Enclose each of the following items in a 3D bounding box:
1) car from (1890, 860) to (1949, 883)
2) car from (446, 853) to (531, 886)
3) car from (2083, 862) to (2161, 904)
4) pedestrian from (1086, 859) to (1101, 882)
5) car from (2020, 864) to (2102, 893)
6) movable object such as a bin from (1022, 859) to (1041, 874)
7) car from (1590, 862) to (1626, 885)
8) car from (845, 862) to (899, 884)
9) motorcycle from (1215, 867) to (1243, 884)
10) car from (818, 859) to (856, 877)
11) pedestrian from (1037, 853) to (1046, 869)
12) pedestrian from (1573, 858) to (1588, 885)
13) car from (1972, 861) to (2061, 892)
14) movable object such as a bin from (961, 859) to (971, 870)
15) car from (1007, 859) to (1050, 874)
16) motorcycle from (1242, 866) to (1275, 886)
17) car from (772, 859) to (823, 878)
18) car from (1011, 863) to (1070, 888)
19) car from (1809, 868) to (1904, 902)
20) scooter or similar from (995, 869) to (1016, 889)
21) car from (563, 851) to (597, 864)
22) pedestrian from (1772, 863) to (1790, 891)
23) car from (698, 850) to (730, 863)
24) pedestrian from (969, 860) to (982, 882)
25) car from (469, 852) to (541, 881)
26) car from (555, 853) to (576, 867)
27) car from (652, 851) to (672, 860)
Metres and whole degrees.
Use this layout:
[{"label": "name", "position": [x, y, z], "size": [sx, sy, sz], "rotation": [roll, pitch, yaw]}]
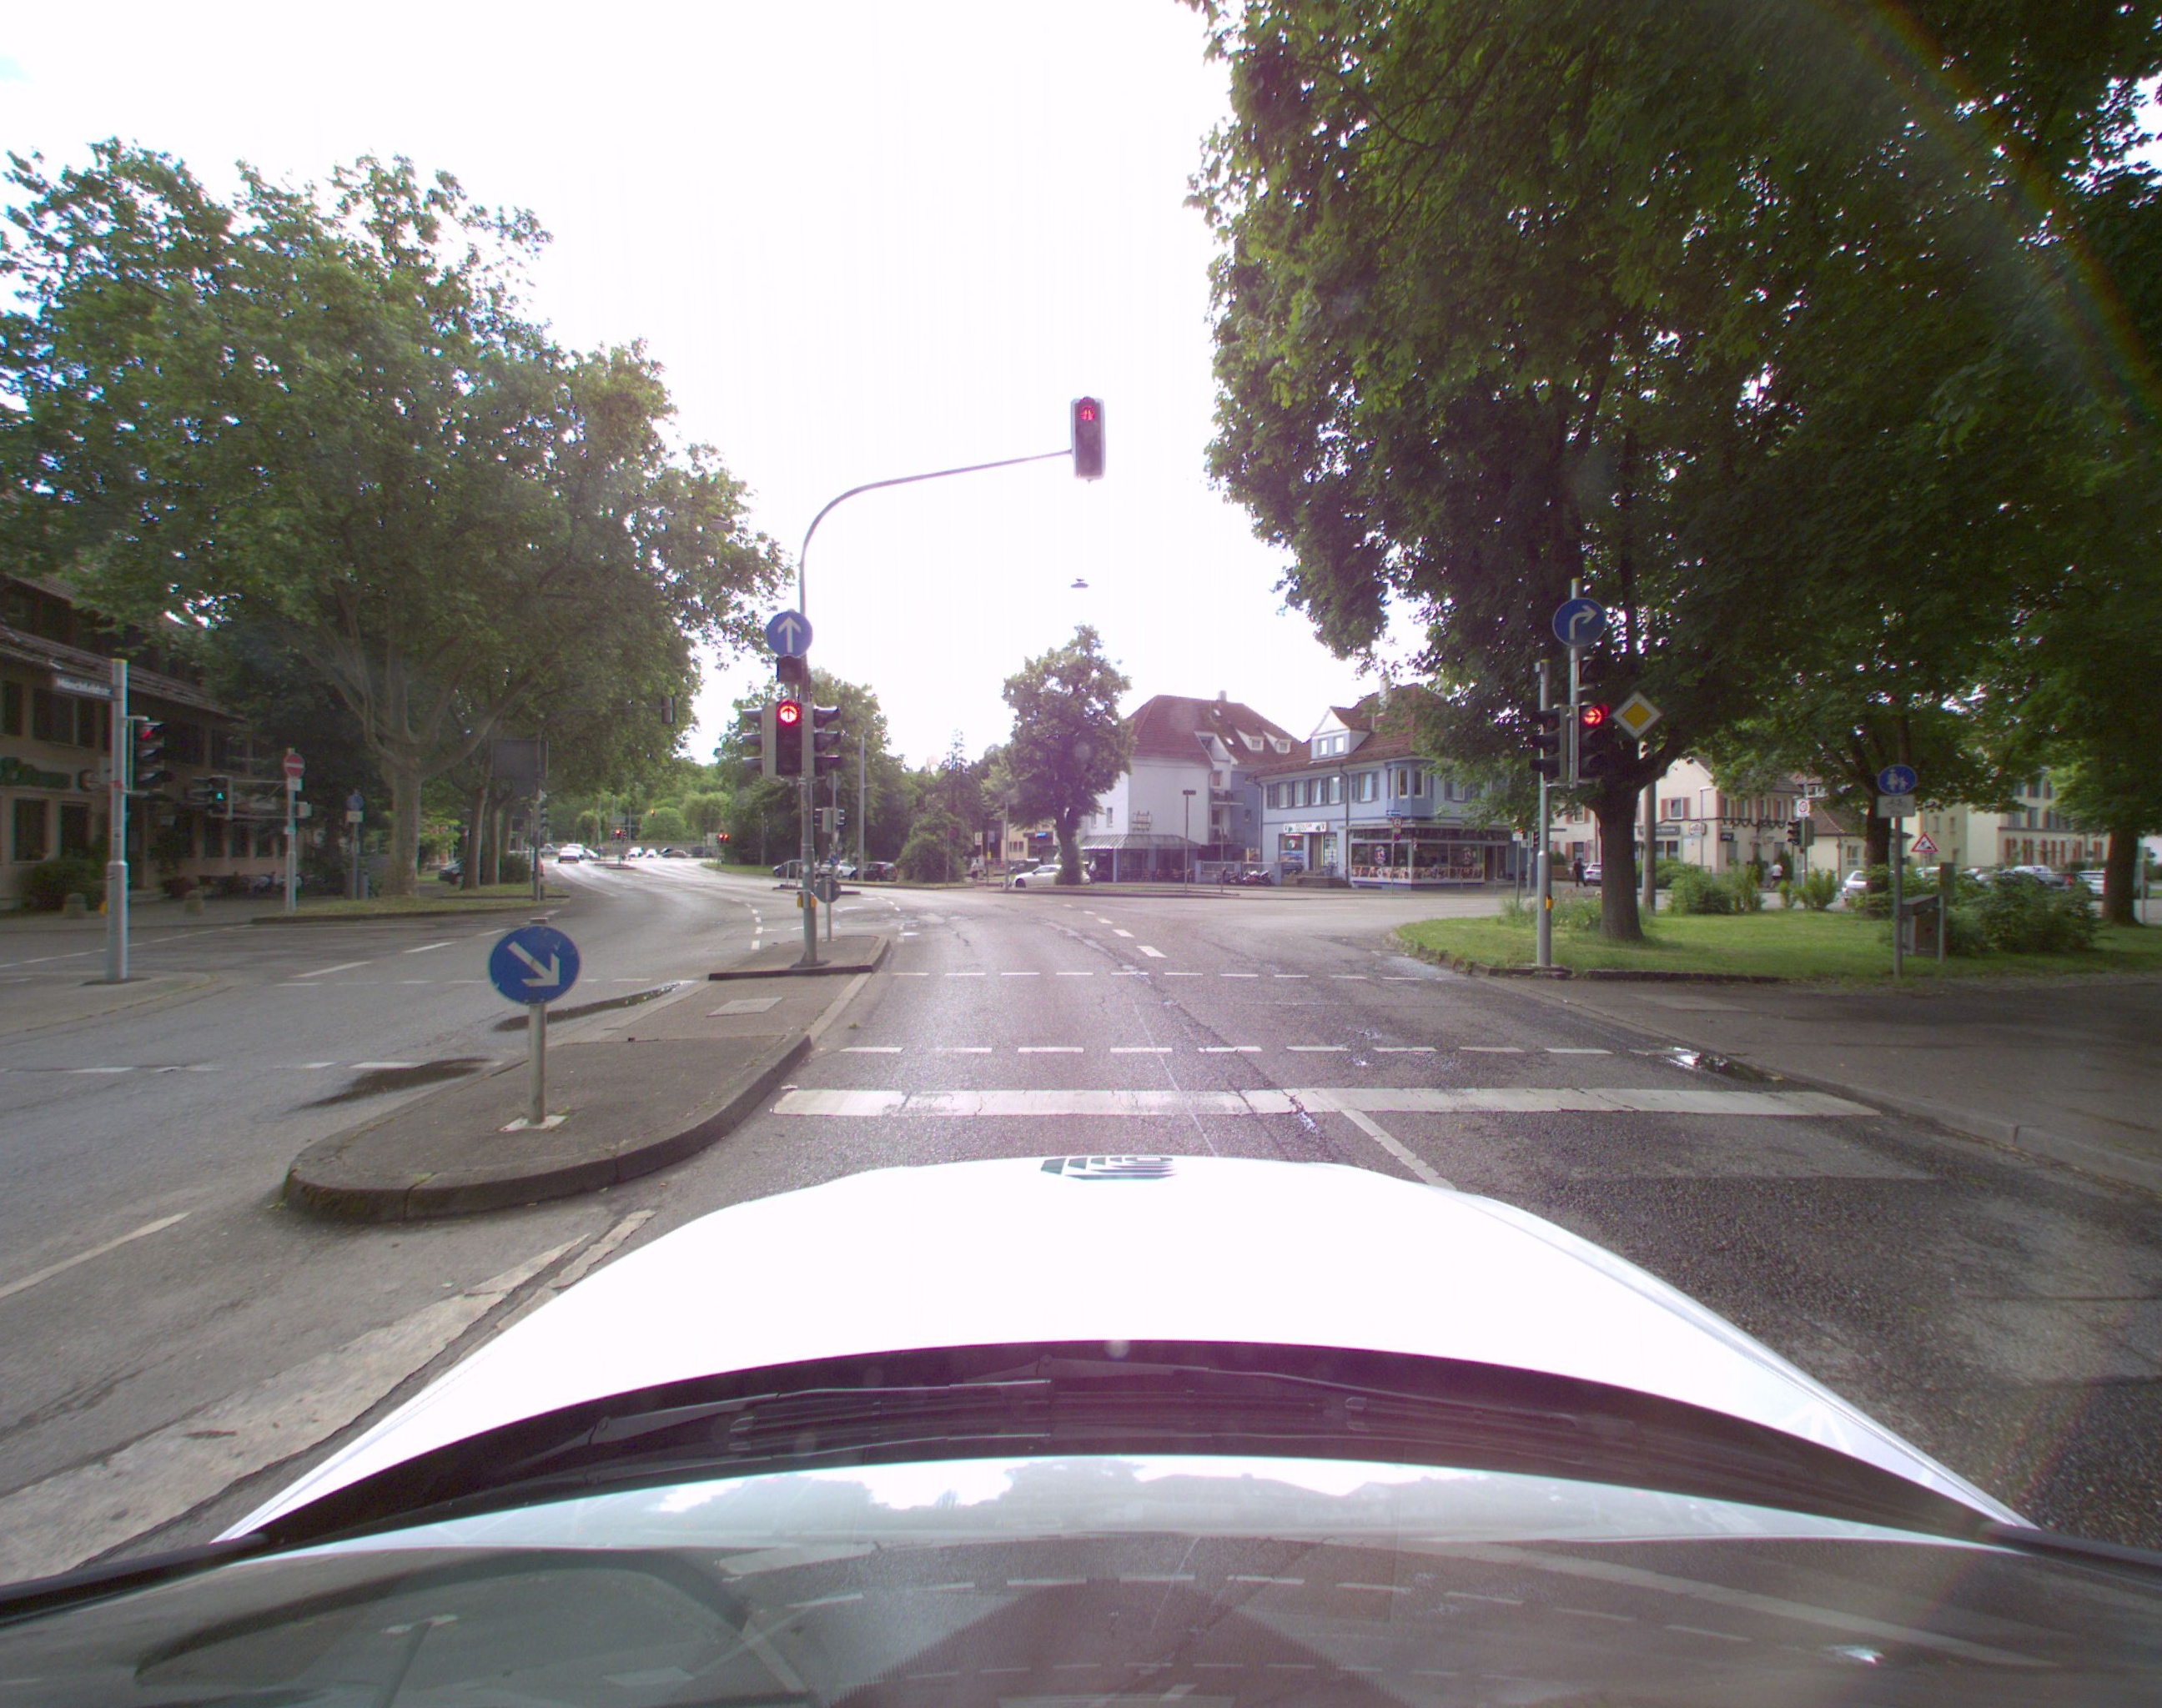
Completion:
[{"label": "car", "position": [55.113, 1.129, 53.532], "size": [4.007, 1.420, 1.544], "rotation": [0, 0, -26]}, {"label": "car", "position": [-31.004, 0.784, 42.719], "size": [3.461, 1.641, 1.557], "rotation": [0, -1, -31]}, {"label": "car", "position": [52.829, 1.437, 41.128], "size": [4.004, 2.014, 1.770], "rotation": [0, -1, -23]}, {"label": "pedestrian", "position": [0.844, 1.136, 55.260], "size": [0.759, 1.545, 0.682], "rotation": [-1, -1, 41]}, {"label": "car", "position": [47.001, 1.169, 39.061], "size": [3.511, 1.321, 1.549], "rotation": [0, 0, -22]}, {"label": "movable object such as a bin", "position": [-4.526, 1.134, 74.251], "size": [1.447, 1.409, 0.959], "rotation": [0, -1, -25]}, {"label": "car", "position": [32.600, 1.186, 50.343], "size": [1.481, 1.369, 3.198], "rotation": [-1, -1, 40]}, {"label": "car", "position": [-13.909, 1.267, 54.207], "size": [3.549, 1.394, 1.481], "rotation": [0, -1, 34]}, {"label": "motorcycle", "position": [9.111, 1.315, 50.080], "size": [0.699, 1.064, 1.617], "rotation": [0, -1, -44]}, {"label": "car", "position": [-20.082, 1.131, 67.189], "size": [1.534, 1.464, 3.407], "rotation": [0, 0, 13]}, {"label": "pedestrian", "position": [-3.809, 0.711, 78.554], "size": [0.681, 1.545, 0.701], "rotation": [0, -1, -32]}, {"label": "pedestrian", "position": [28.580, 0.998, 46.560], "size": [0.462, 1.517, 0.581], "rotation": [0, -1, -38]}, {"label": "car", "position": [42.214, 0.978, 36.754], "size": [3.510, 1.321, 1.549], "rotation": [0, 0, -21]}, {"label": "movable object such as a bin", "position": [-12.224, 1.120, 86.641], "size": [0.953, 1.115, 0.381], "rotation": [0, -1, -19]}, {"label": "car", "position": [-4.883, 1.136, 76.158], "size": [3.752, 1.345, 1.422], "rotation": [0, 0, -25]}, {"label": "motorcycle", "position": [10.533, 1.289, 48.265], "size": [1.777, 1.121, 0.699], "rotation": [0, -1, 40]}, {"label": "car", "position": [-22.441, 1.115, 64.487], "size": [3.520, 1.464, 1.591], "rotation": [0, 0, 14]}, {"label": "car", "position": [-2.310, 1.203, 46.241], "size": [3.134, 1.354, 1.448], "rotation": [0, -1, 36]}, {"label": "car", "position": [31.961, 1.253, 33.570], "size": [3.511, 1.321, 1.549], "rotation": [0, 0, -22]}, {"label": "scooter or similar", "position": [-3.980, 1.291, 42.884], "size": [0.413, 1.011, 1.575], "rotation": [-1, -1, 22]}, {"label": "car", "position": [-74.581, 0.530, 121.257], "size": [3.993, 2.014, 1.855], "rotation": [0, -1, -14]}, {"label": "pedestrian", "position": [41.512, 1.345, 48.294], "size": [0.611, 1.649, 0.606], "rotation": [0, -1, -27]}, {"label": "car", "position": [-56.018, 0.418, 124.271], "size": [3.981, 2.014, 1.860], "rotation": [0, -1, -5]}, {"label": "pedestrian", "position": [-7.707, 1.228, 59.510], "size": [0.699, 1.545, 0.682], "rotation": [-1, -1, 42]}, {"label": "car", "position": [-35.486, 0.757, 50.285], "size": [3.461, 1.742, 1.557], "rotation": [0, -1, -31]}, {"label": "car", "position": [-52.115, 0.625, 82.277], "size": [1.440, 1.416, 2.838], "rotation": [0, -1, -39]}, {"label": "car", "position": [-95.501, 0.434, 185.604], "size": [4.011, 2.014, 1.981], "rotation": [0, -1, -29]}]
